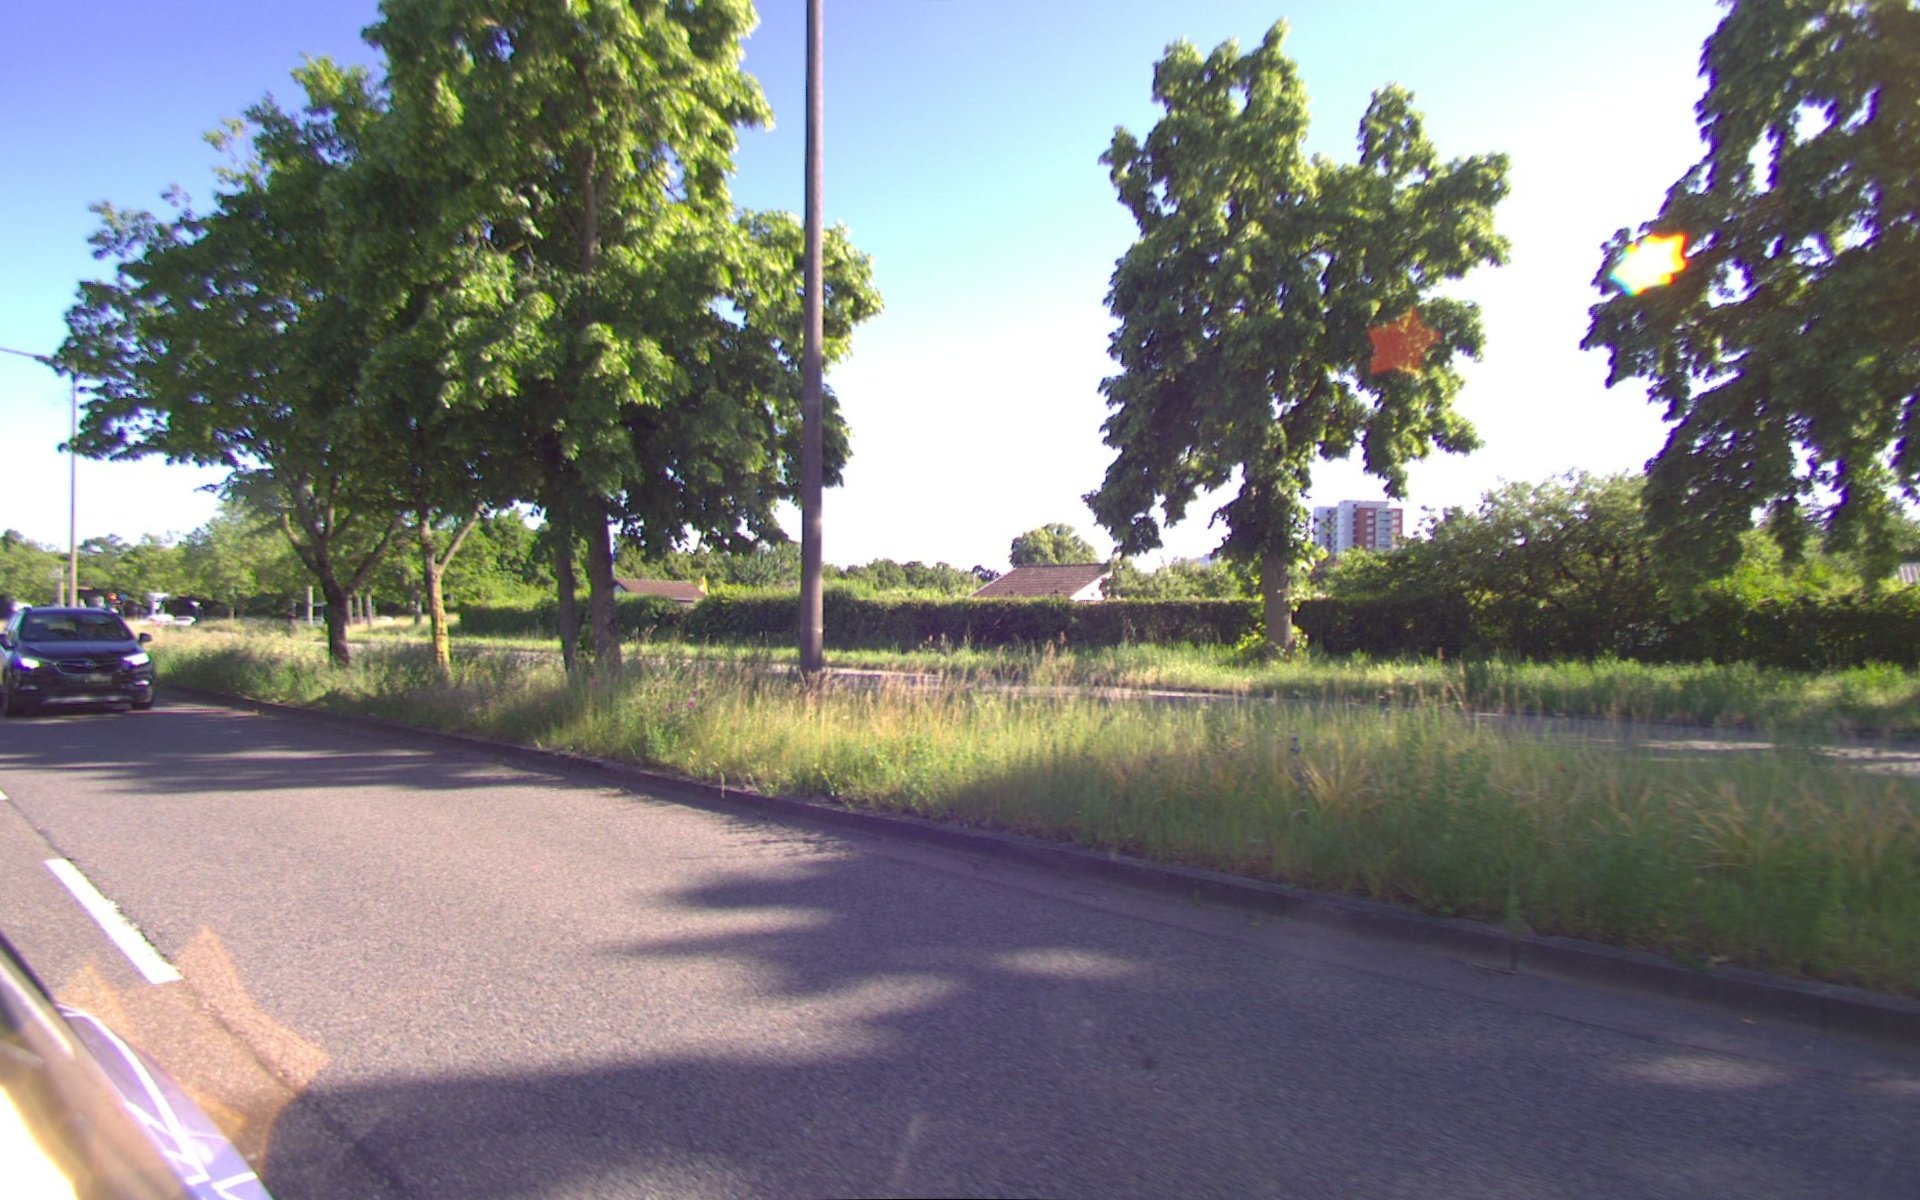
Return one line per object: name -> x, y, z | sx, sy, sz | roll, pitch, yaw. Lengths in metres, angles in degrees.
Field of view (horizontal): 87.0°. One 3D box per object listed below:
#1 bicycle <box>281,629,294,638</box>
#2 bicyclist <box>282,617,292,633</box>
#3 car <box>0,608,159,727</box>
bicycle -> -55.420, 2.728, 83.369 | 0.558, 0.700, 1.876 | 1, -1, -45
bicyclist -> -55.405, 2.052, 83.324 | 0.576, 1.266, 0.576 | 0, -1, -44
car -> -14.301, 0.995, 16.156 | 3.854, 1.675, 1.691 | -1, -2, 41
